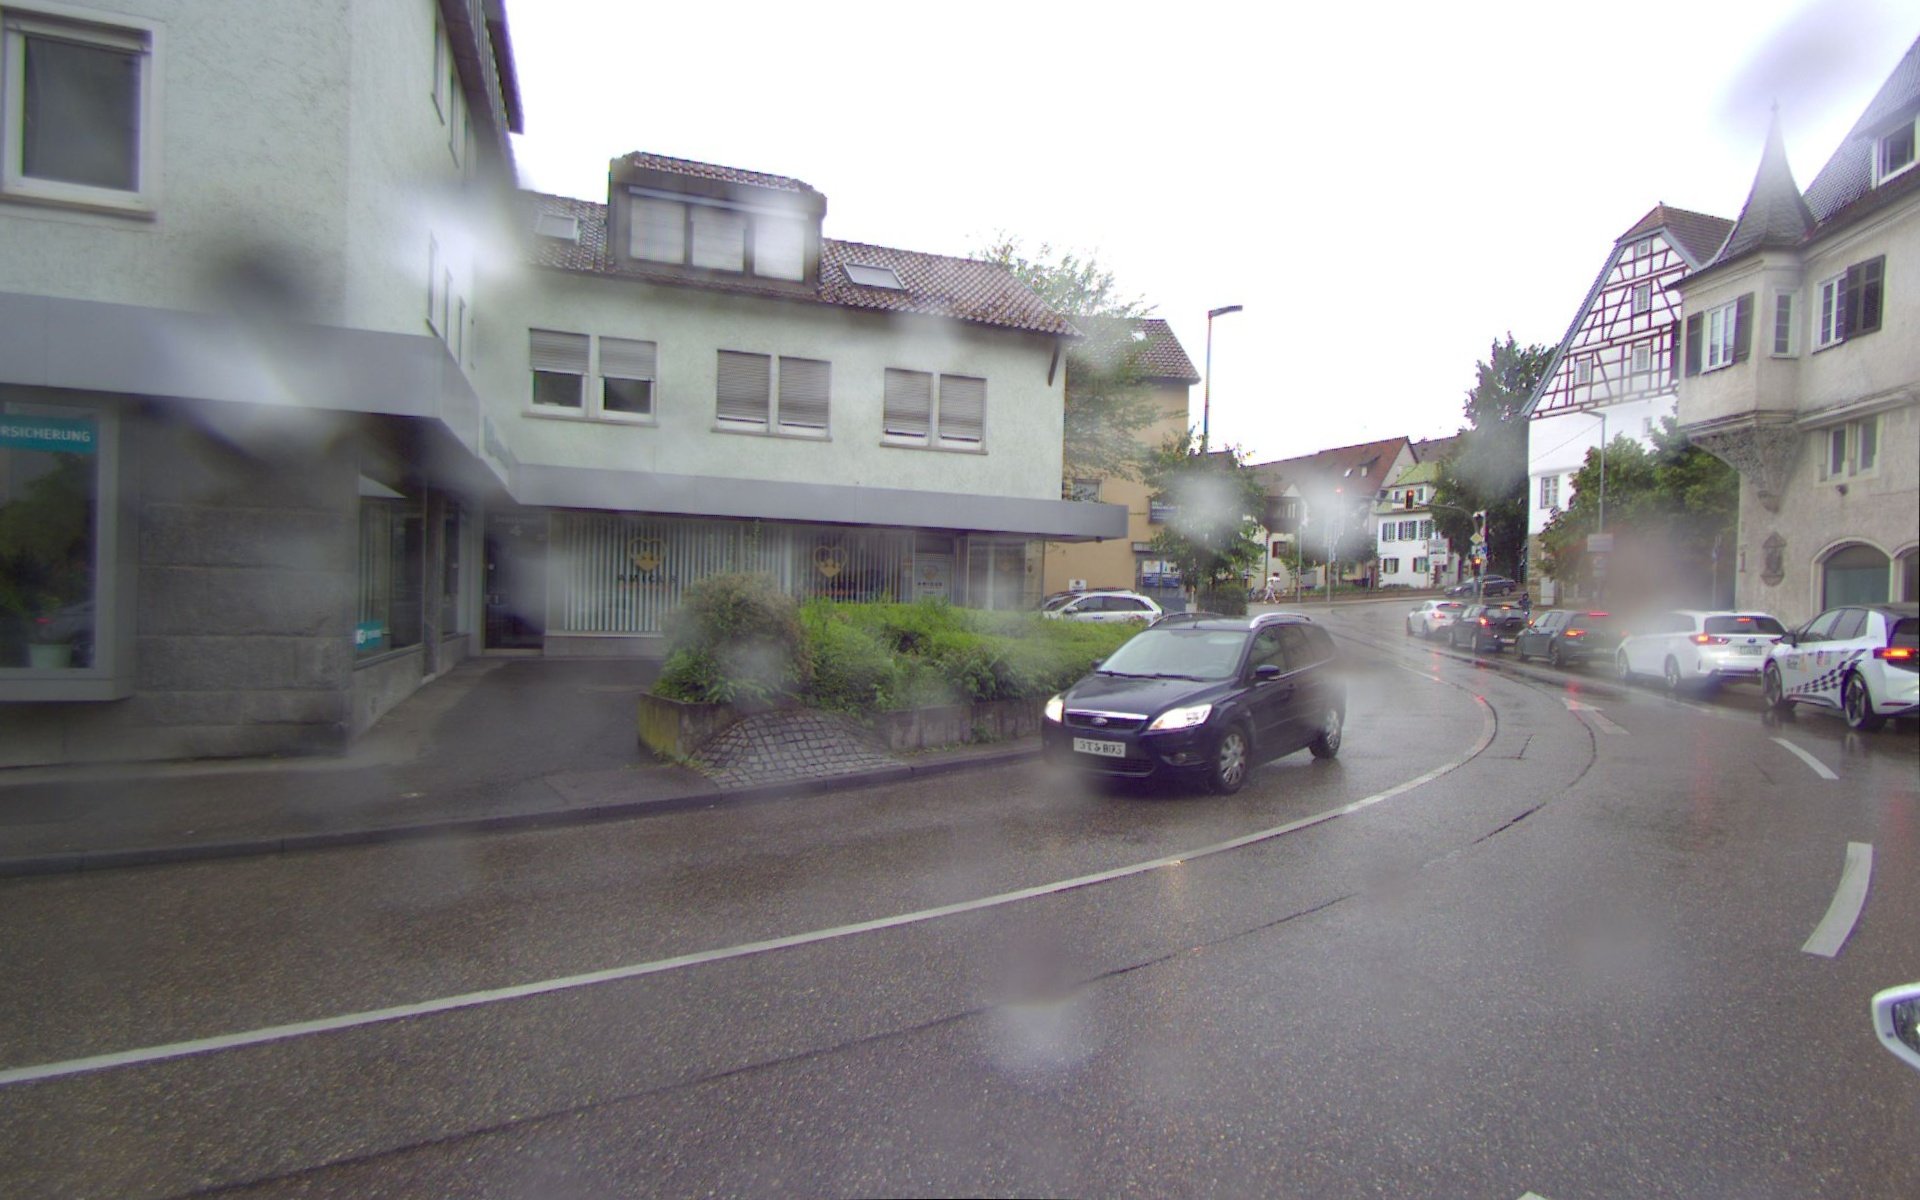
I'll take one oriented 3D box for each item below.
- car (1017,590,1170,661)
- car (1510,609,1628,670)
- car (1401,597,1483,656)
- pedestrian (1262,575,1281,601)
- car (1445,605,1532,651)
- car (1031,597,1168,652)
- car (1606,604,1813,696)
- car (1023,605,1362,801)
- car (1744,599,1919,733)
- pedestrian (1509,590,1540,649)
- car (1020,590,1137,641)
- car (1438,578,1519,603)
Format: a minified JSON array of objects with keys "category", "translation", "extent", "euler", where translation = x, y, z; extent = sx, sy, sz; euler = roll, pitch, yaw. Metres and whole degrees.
[{"category":"car","translation":[3.296,0.622,25.181],"extent":[3.472,1.708,1.710],"euler":[0,1,-8]},{"category":"car","translation":[15.643,0.969,25.986],"extent":[1.493,1.380,3.769],"euler":[0,1,13]},{"category":"car","translation":[18.624,0.972,38.974],"extent":[1.939,2.118,3.963],"euler":[0,1,11]},{"category":"pedestrian","translation":[21.292,-0.811,68.731],"extent":[1.126,1.765,1.006],"euler":[1,0,11]},{"category":"car","translation":[16.982,0.863,32.438],"extent":[1.634,1.330,3.625],"euler":[0,1,13]},{"category":"car","translation":[3.878,0.675,28.249],"extent":[3.472,1.475,1.710],"euler":[0,1,-8]},{"category":"car","translation":[13.916,0.846,18.957],"extent":[1.755,1.485,4.165],"euler":[0,1,16]},{"category":"car","translation":[2.522,0.845,10.067],"extent":[1.710,1.530,4.256],"euler":[-1,-1,38]},{"category":"car","translation":[12.204,0.778,13.321],"extent":[1.760,1.537,4.239],"euler":[-1,-1,22]},{"category":"pedestrian","translation":[23.055,0.787,41.042],"extent":[0.851,2.357,1.231],"euler":[1,0,18]},{"category":"car","translation":[3.810,0.490,32.701],"extent":[3.472,1.597,1.710],"euler":[0,1,-8]},{"category":"car","translation":[33.531,-0.618,64.975],"extent":[4.446,1.409,1.648],"euler":[1,7,-8]}]
